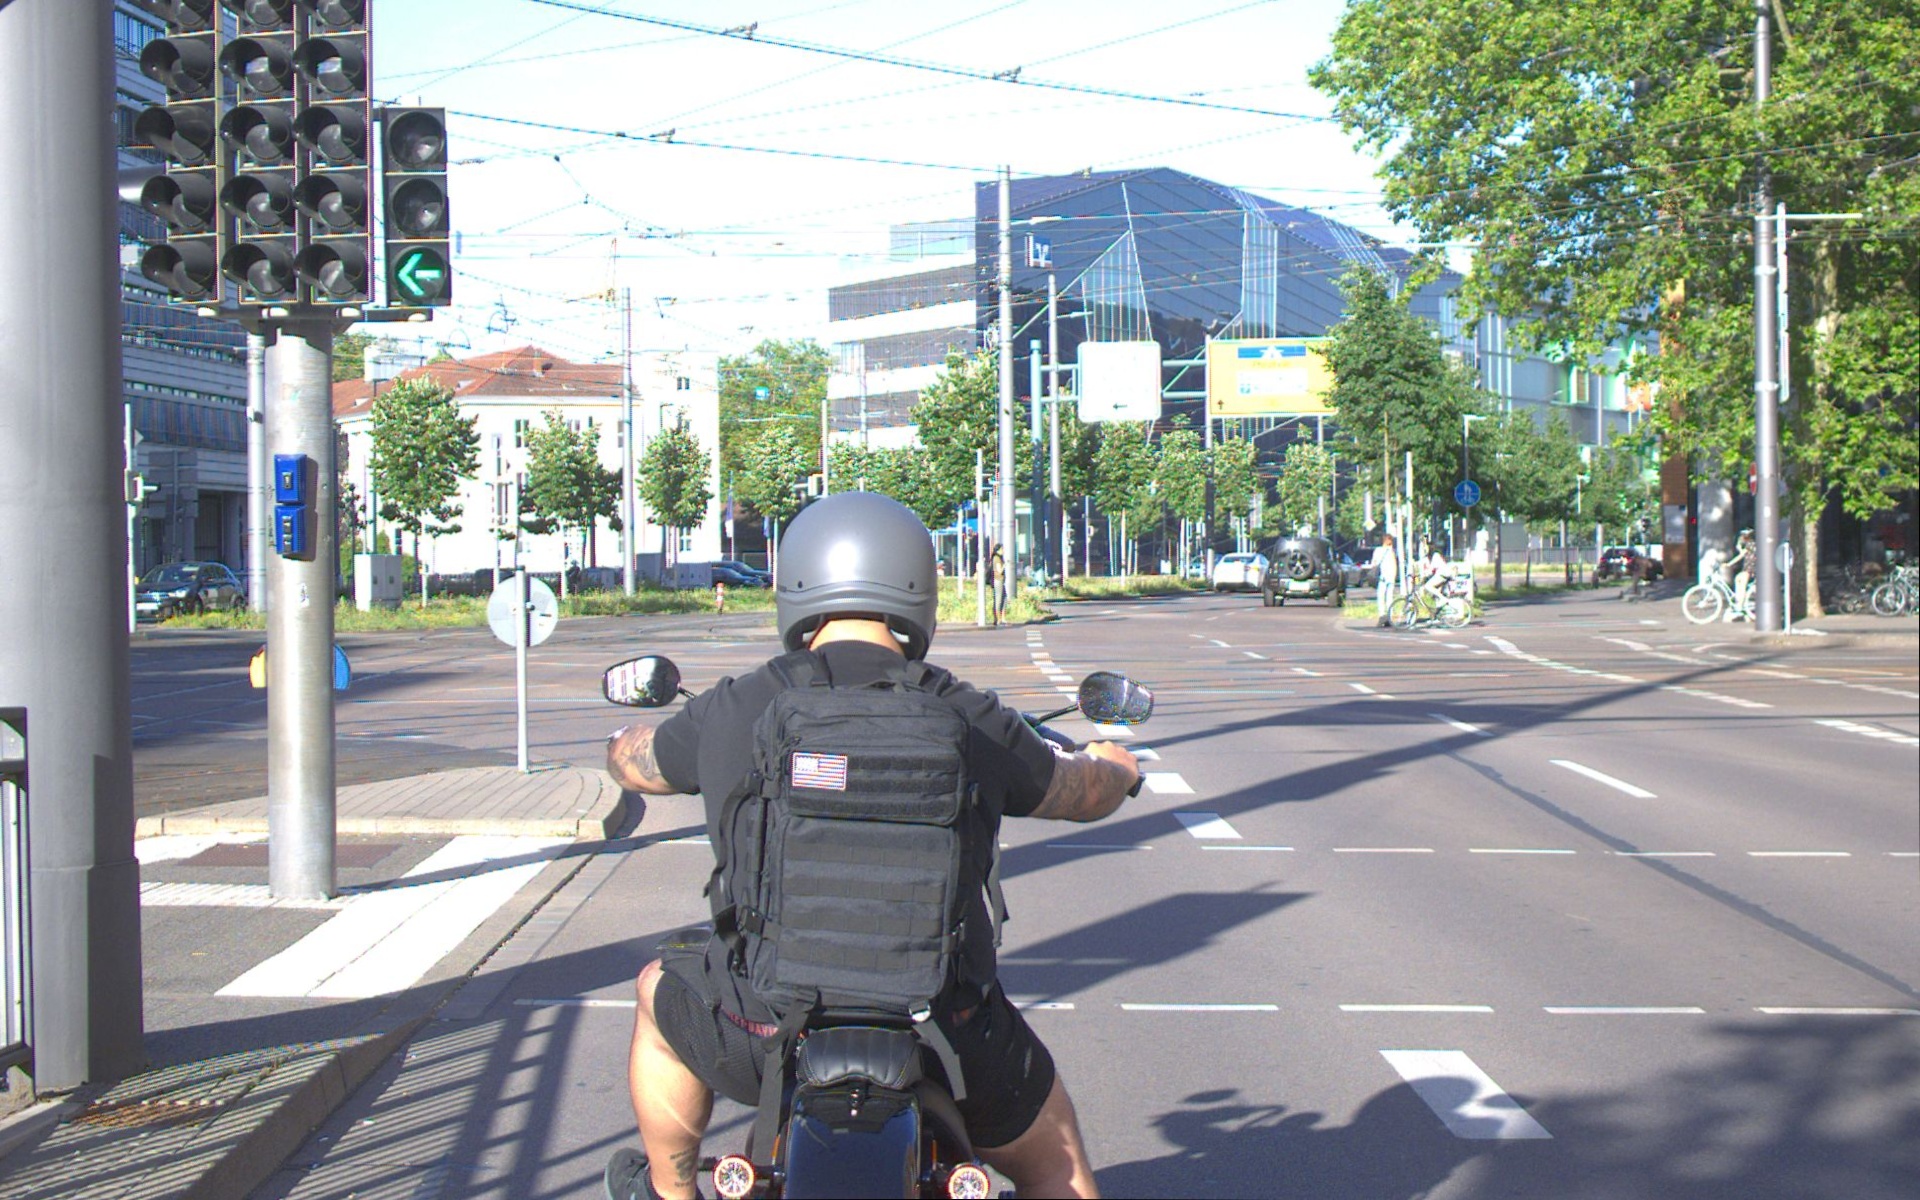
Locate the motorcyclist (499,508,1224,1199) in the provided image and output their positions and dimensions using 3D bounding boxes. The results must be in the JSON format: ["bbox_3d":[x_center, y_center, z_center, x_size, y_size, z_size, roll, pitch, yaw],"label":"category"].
[{"bbox_3d":[-0.152,0.638,5.564,1.022,1.547,1.286,1,1,-1],"label":"motorcyclist"}]

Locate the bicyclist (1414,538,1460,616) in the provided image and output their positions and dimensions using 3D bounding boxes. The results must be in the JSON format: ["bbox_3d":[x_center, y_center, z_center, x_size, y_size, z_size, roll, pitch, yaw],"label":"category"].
[{"bbox_3d":[9.314,-0.447,67.104,0.743,1.498,0.569,-1,0,23],"label":"bicyclist"}]

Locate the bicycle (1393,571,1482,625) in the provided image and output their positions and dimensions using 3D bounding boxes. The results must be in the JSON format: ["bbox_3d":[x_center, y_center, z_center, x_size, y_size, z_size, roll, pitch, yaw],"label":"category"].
[{"bbox_3d":[9.314,-0.038,67.108,1.629,1.018,0.516,-1,0,23],"label":"bicycle"}]

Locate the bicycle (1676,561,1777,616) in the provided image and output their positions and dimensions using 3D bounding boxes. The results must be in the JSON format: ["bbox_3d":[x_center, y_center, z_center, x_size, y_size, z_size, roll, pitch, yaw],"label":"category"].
[{"bbox_3d":[14.516,-0.212,65.139,1.853,1.018,0.516,-1,0,11],"label":"bicycle"}]

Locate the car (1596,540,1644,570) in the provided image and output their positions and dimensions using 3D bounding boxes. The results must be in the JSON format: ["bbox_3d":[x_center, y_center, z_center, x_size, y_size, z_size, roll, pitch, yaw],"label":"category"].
[{"bbox_3d":[33.379,-2.256,173.800,1.843,1.459,3.996,1,1,19],"label":"car"}]

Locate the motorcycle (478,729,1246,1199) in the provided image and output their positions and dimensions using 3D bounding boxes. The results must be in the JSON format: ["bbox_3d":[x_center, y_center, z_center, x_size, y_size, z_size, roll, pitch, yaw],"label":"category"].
[{"bbox_3d":[-0.147,0.847,5.696,1.005,1.121,2.323,1,1,-1],"label":"motorcycle"}]

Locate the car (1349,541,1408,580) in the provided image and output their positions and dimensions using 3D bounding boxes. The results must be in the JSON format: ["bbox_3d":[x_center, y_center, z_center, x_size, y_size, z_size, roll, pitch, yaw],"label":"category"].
[{"bbox_3d":[18.132,-1.706,148.838,1.722,1.651,3.750,0,1,20],"label":"car"}]

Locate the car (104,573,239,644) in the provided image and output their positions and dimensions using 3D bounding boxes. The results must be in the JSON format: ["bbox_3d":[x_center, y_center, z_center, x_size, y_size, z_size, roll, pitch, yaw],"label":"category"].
[{"bbox_3d":[-17.850,0.165,78.040,1.791,1.461,4.311,-1,2,4],"label":"car"}]

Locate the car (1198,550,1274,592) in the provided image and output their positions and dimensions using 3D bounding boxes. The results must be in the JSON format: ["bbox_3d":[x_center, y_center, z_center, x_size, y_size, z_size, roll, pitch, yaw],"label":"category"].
[{"bbox_3d":[10.046,-1.045,124.841,1.903,1.503,3.997,1,1,17],"label":"car"}]

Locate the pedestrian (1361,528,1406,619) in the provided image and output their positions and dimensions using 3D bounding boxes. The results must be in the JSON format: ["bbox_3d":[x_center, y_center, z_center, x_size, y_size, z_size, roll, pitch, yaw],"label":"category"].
[{"bbox_3d":[8.563,-0.534,69.514,0.701,1.830,0.514,1,0,35],"label":"pedestrian"}]

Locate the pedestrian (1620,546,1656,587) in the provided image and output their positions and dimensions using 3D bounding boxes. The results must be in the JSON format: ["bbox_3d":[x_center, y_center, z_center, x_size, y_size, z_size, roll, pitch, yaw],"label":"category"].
[{"bbox_3d":[17.873,-0.888,90.654,0.785,1.053,0.813,0,1,22],"label":"pedestrian"}]

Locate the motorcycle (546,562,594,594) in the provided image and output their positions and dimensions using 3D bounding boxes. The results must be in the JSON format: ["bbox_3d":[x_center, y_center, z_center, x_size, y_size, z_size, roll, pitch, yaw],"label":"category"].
[{"bbox_3d":[-14.981,-0.854,132.220,0.984,1.227,2.941,0,1,11],"label":"motorcycle"}]

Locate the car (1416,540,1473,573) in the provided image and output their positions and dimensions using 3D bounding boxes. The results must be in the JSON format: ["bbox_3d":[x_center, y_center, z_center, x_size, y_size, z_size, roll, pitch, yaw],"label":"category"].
[{"bbox_3d":[22.475,-2.023,159.460,1.722,1.479,3.750,0,1,22],"label":"car"}]

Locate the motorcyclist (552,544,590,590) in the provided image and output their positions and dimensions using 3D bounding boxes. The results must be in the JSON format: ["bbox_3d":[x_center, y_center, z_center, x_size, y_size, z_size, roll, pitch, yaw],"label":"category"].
[{"bbox_3d":[-14.965,-1.270,132.279,1.019,1.725,1.460,0,1,11],"label":"motorcyclist"}]

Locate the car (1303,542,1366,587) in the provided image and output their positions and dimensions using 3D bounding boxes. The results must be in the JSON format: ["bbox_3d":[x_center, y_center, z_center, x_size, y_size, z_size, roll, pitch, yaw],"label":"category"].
[{"bbox_3d":[15.415,-1.475,141.323,1.821,1.811,3.940,0,1,18],"label":"car"}]

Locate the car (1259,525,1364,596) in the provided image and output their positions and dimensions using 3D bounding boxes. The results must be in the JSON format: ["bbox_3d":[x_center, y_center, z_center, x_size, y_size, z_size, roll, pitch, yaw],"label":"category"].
[{"bbox_3d":[9.687,-1.077,94.529,2.055,1.867,4.223,1,1,17],"label":"car"}]

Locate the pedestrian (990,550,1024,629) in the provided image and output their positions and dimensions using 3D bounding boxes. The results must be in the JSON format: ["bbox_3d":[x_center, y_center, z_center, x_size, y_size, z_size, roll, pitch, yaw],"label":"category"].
[{"bbox_3d":[0.937,-0.209,69.016,0.657,1.577,0.489,0,1,3],"label":"pedestrian"}]

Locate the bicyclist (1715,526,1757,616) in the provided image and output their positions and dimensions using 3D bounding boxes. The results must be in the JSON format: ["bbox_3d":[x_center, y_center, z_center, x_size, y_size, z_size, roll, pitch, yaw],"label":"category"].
[{"bbox_3d":[14.680,-0.540,65.063,0.743,1.689,0.570,-1,0,11],"label":"bicyclist"}]
